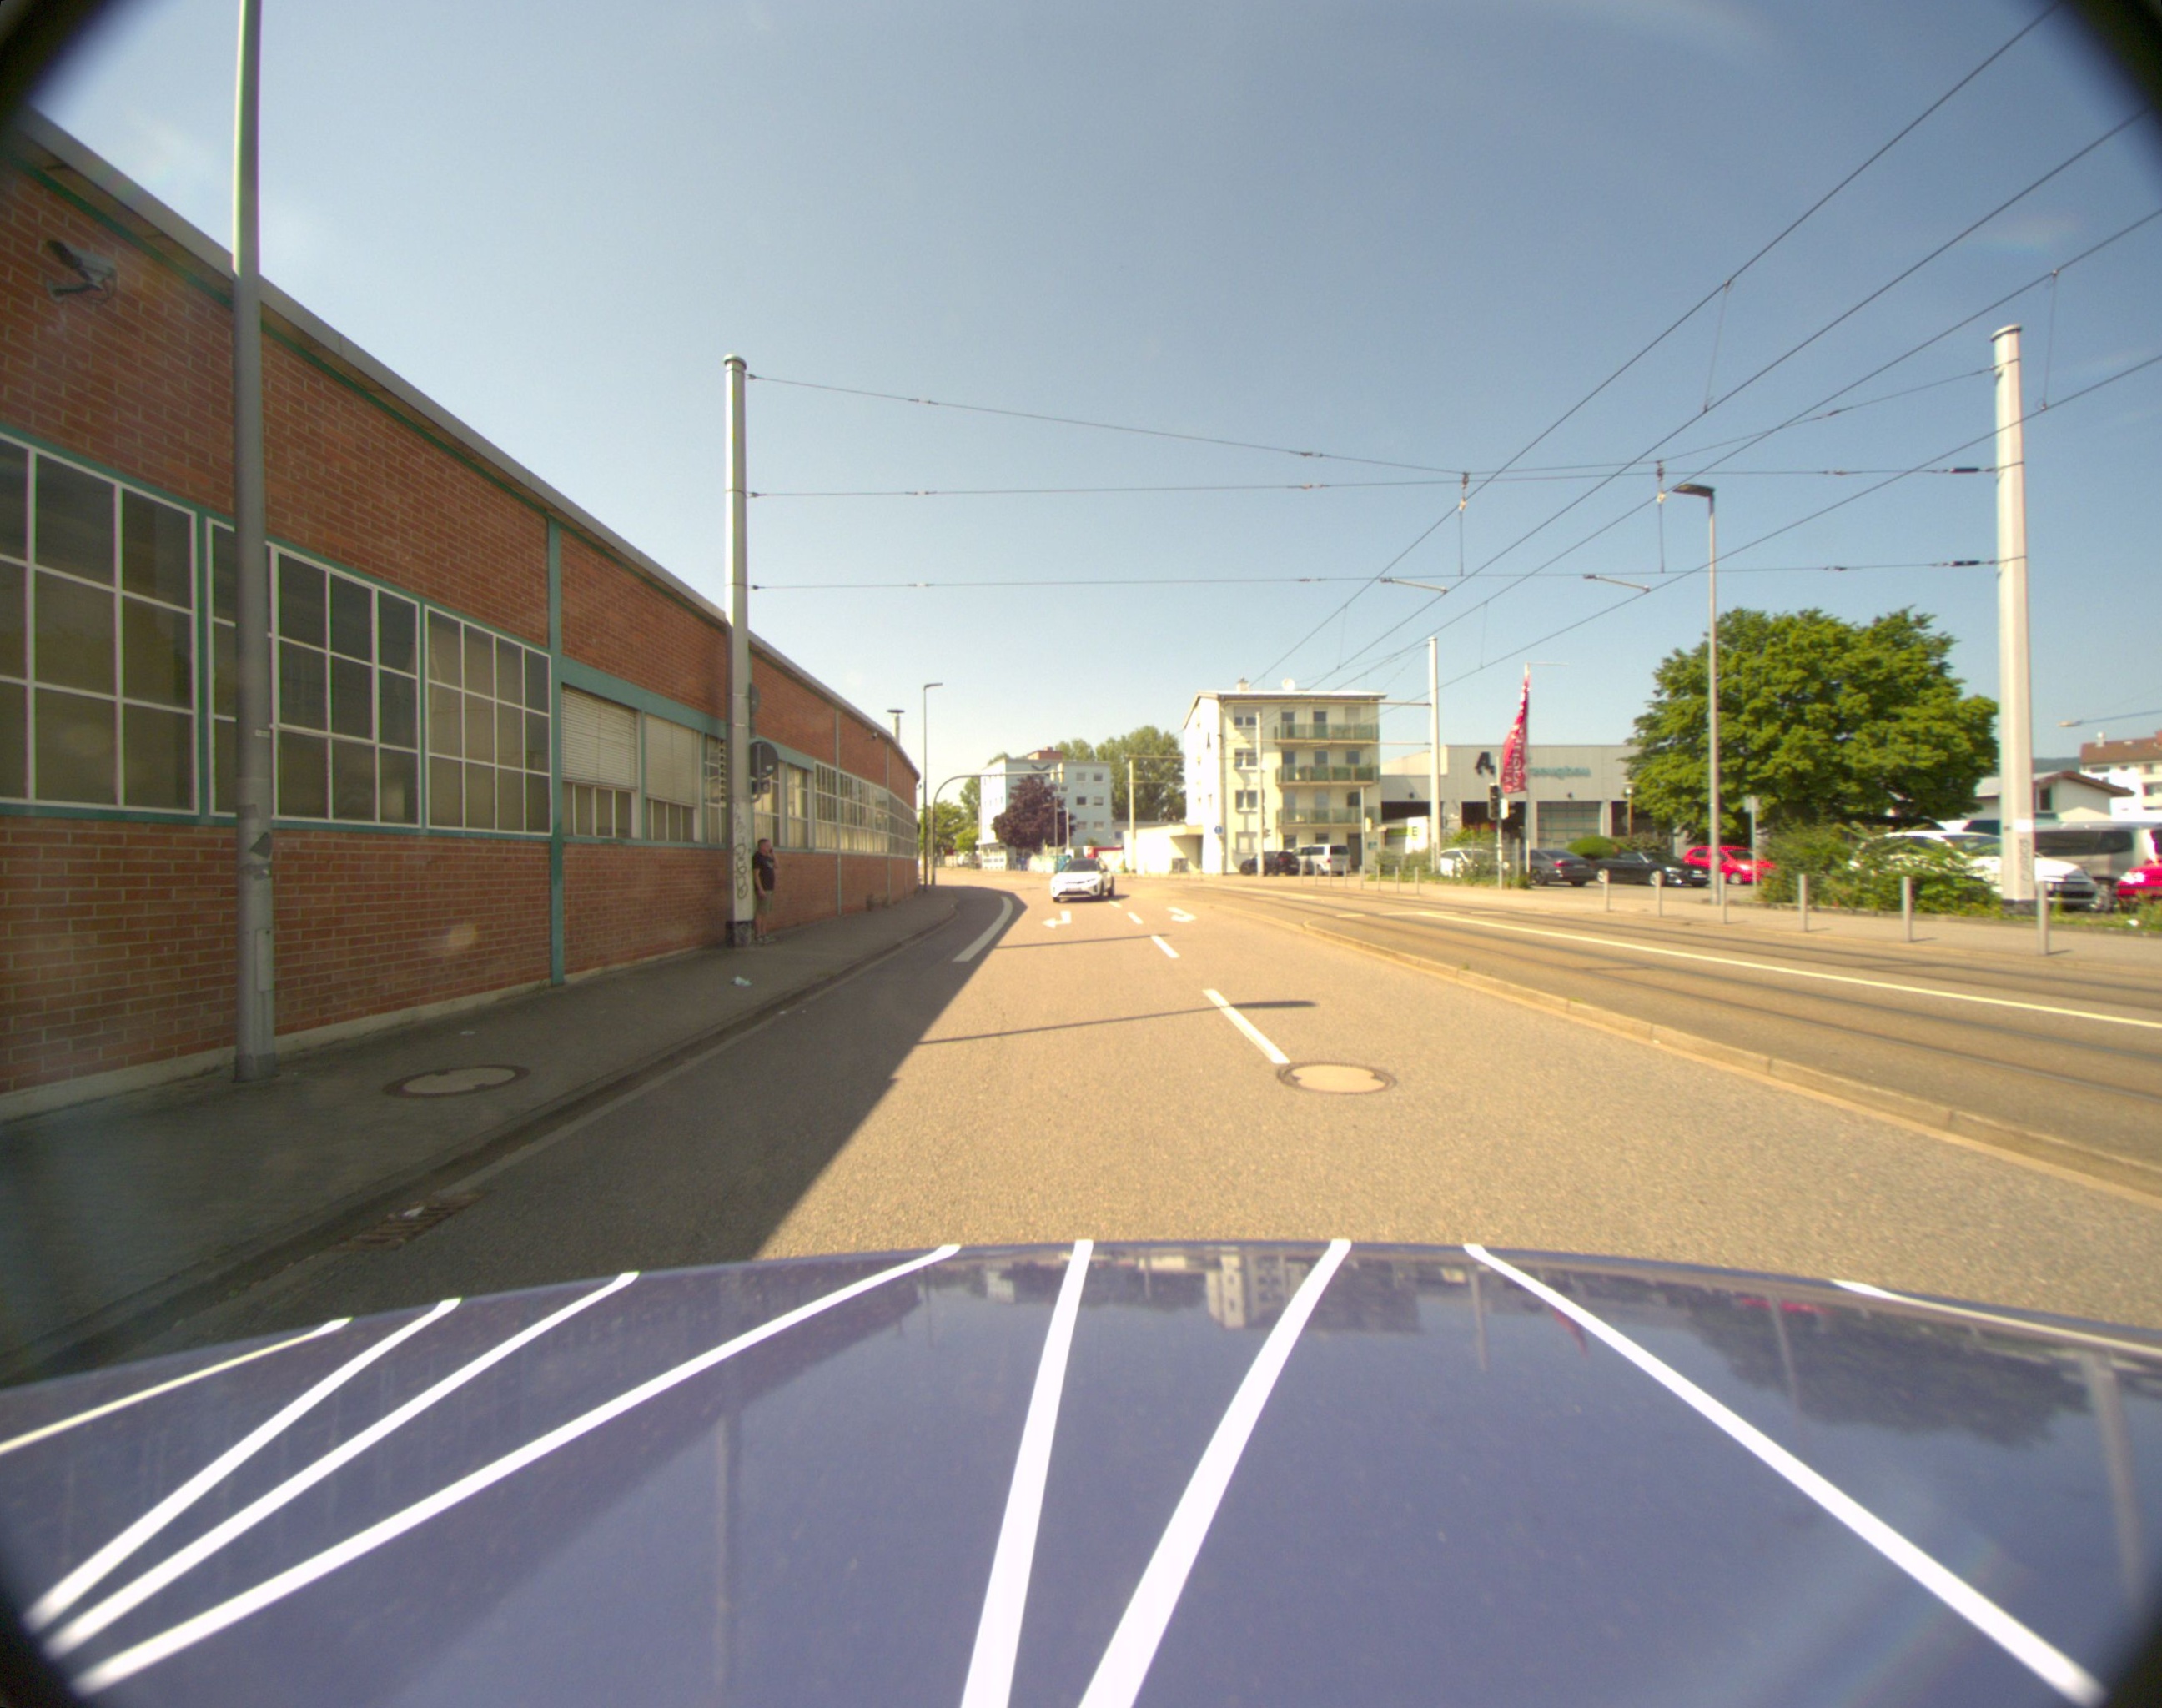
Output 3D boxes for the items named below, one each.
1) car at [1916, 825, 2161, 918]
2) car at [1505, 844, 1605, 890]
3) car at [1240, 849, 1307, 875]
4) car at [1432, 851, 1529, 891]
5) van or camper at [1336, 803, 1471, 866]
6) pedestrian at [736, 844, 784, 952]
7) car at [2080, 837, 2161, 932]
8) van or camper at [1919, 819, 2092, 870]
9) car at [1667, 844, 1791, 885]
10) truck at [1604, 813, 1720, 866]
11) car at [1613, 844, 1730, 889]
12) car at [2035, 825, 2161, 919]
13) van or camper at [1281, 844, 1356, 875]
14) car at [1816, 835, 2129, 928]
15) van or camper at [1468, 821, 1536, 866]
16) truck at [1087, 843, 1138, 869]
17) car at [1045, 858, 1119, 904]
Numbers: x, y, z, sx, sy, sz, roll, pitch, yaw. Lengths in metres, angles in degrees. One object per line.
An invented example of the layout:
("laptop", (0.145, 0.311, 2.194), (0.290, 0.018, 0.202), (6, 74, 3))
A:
("car", (19.090, 0.292, 14.685), (1.854, 1.559, 3.937), (-1, 0, 7))
("car", (18.299, 0.541, 29.556), (1.767, 1.611, 3.840), (-2, -2, 6))
("car", (11.975, 0.504, 47.565), (1.883, 1.512, 3.965), (-1, 0, -28))
("car", (15.694, 0.612, 30.084), (1.712, 1.425, 3.954), (-2, 1, -1))
("van or camper", (22.544, -1.179, 54.225), (2.781, 3.669, 11.632), (-1, -2, -11))
("pedestrian", (-5.366, 0.728, 12.712), (0.448, 1.754, 0.687), (-2, -2, 5))
("car", (17.479, 0.404, 10.907), (3.832, 1.362, 1.748), (-1, 0, 2))
("van or camper", (39.333, -0.370, 32.542), (1.998, 1.996, 4.645), (-1, 0, 5))
("car", (27.164, 0.434, 32.018), (1.856, 1.583, 3.835), (-1, 0, -3))
("truck", (44.312, -1.074, 58.345), (2.623, 3.760, 7.859), (-1, 0, -2))
("car", (22.789, 0.456, 29.540), (1.854, 1.612, 3.838), (0, 0, 6))
("car", (21.533, 0.320, 14.456), (1.997, 1.774, 4.002), (-1, 0, 7))
("van or camper", (14.799, 0.312, 47.684), (2.002, 1.897, 4.547), (0, 0, -23))
("car", (16.738, 0.457, 14.613), (1.739, 1.532, 3.838), (-1, 0, 6))
("van or camper", (31.699, -0.745, 57.421), (1.999, 3.186, 5.057), (-1, -1, -5))
("truck", (3.308, 0.205, 80.037), (4.837, 2.611, 2.186), (-1, 0, -16))
("car", (0.138, 0.929, 27.680), (1.734, 1.521, 4.113), (-1, 0, 14))
